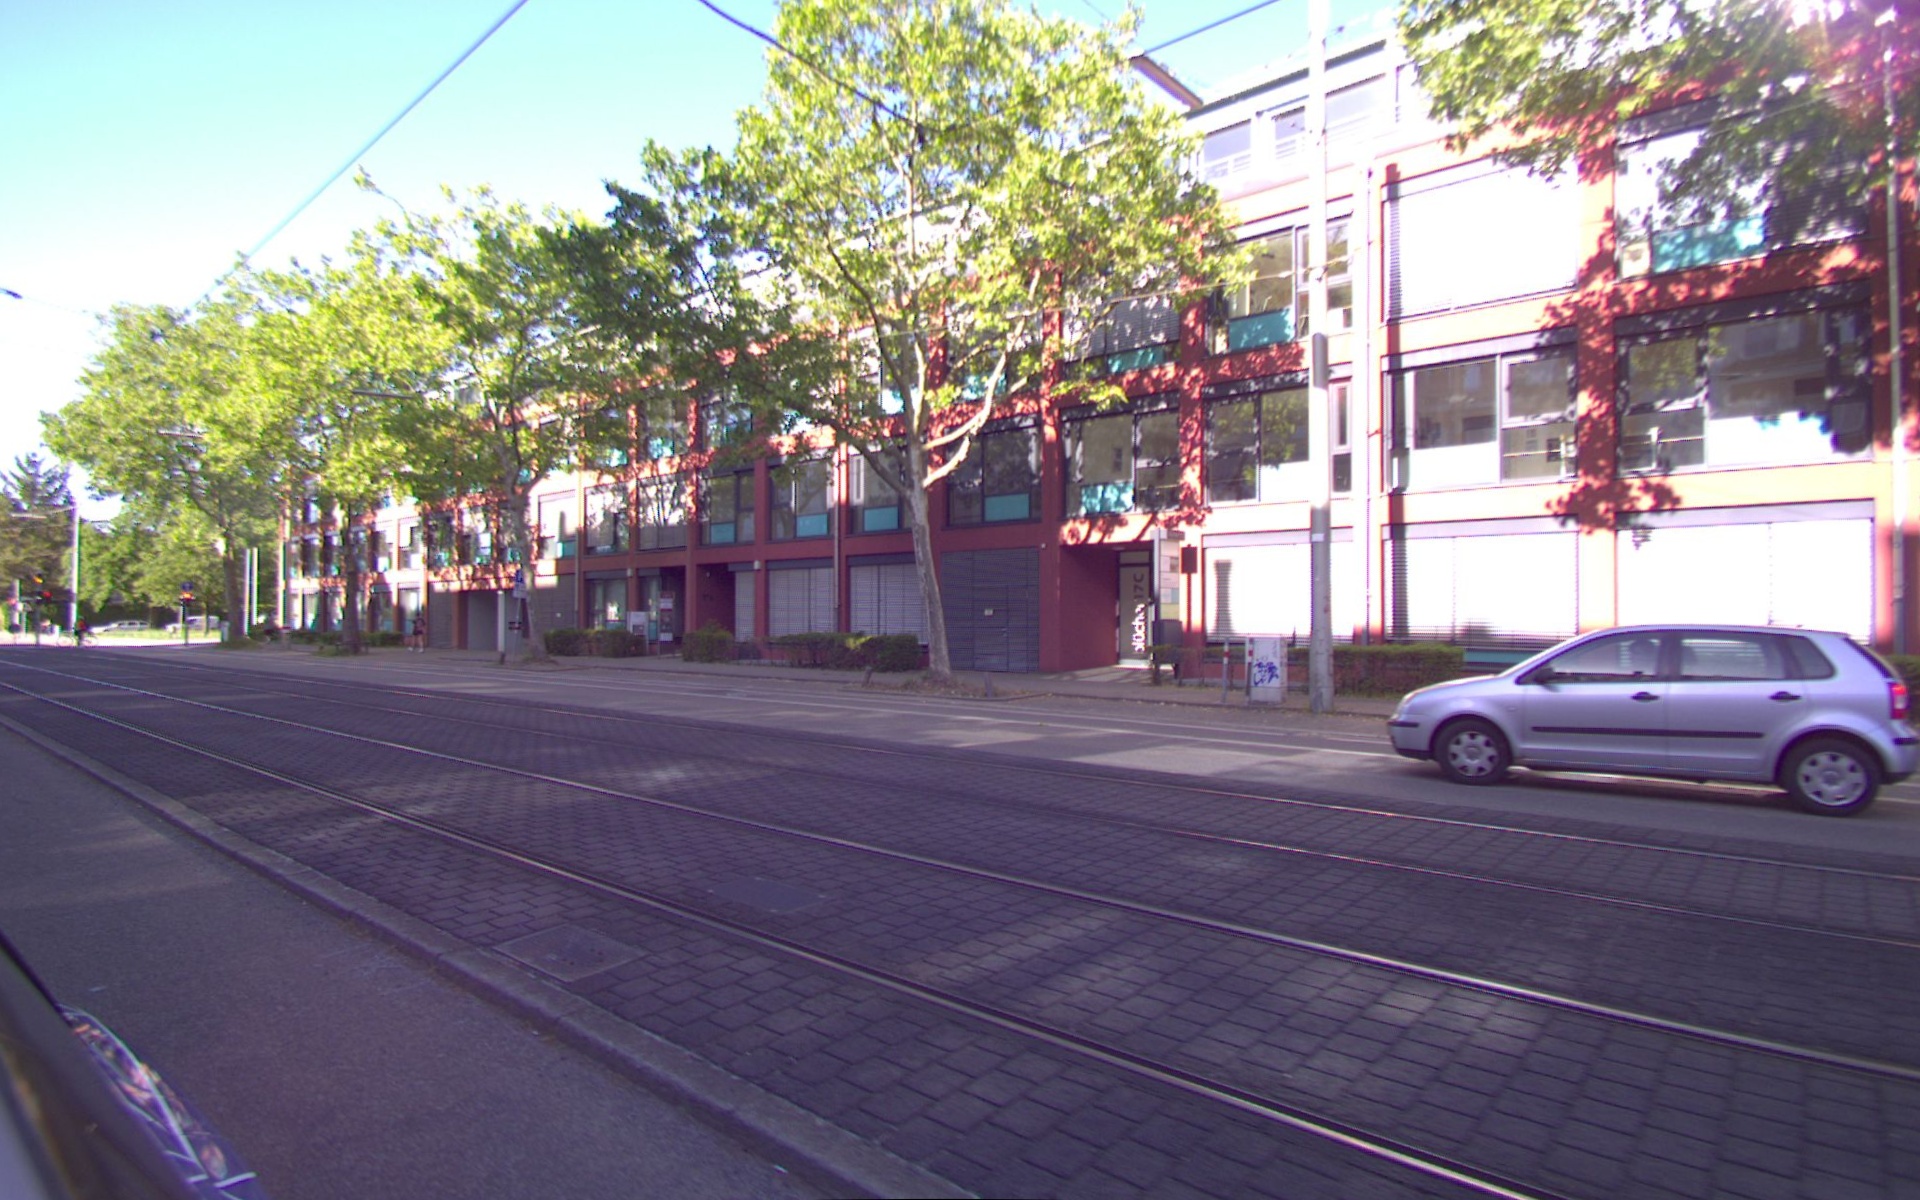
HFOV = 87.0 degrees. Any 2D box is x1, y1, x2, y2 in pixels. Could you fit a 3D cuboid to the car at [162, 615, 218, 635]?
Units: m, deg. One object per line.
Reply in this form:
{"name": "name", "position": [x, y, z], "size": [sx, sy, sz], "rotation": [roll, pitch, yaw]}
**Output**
{"name": "car", "position": [-78.147, 2.536, 102.730], "size": [1.816, 1.881, 4.254], "rotation": [-3, -3, 43]}

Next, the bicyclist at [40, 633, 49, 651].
{"name": "bicyclist", "position": [-84.191, 3.822, 93.046], "size": [0.551, 1.635, 0.899], "rotation": [1, -2, -41]}

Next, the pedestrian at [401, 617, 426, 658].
{"name": "pedestrian", "position": [-23.770, 1.612, 44.005], "size": [0.900, 1.731, 0.619], "rotation": [-2, 0, 40]}

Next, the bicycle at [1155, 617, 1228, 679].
{"name": "bicycle", "position": [5.329, 1.072, 23.224], "size": [0.619, 1.282, 2.039], "rotation": [-2, 0, 45]}

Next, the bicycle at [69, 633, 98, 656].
{"name": "bicycle", "position": [-48.365, 2.454, 55.876], "size": [0.622, 1.138, 2.042], "rotation": [-1, -5, -24]}

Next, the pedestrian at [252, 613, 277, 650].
{"name": "pedestrian", "position": [-39.255, 1.769, 57.093], "size": [0.778, 2.029, 0.903], "rotation": [-2, 0, 32]}

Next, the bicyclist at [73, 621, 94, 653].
{"name": "bicyclist", "position": [-48.369, 2.035, 55.853], "size": [0.596, 1.705, 0.935], "rotation": [-2, 0, -24]}

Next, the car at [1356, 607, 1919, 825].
{"name": "car", "position": [5.816, 0.866, 8.898], "size": [4.063, 1.530, 1.737], "rotation": [-1, -3, 36]}

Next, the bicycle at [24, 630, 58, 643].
{"name": "bicycle", "position": [-84.361, 3.361, 92.895], "size": [2.252, 1.126, 0.931], "rotation": [1, -2, -42]}

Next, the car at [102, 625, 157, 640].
{"name": "car", "position": [-79.722, 3.118, 97.165], "size": [3.940, 1.444, 1.818], "rotation": [1, -2, -44]}
